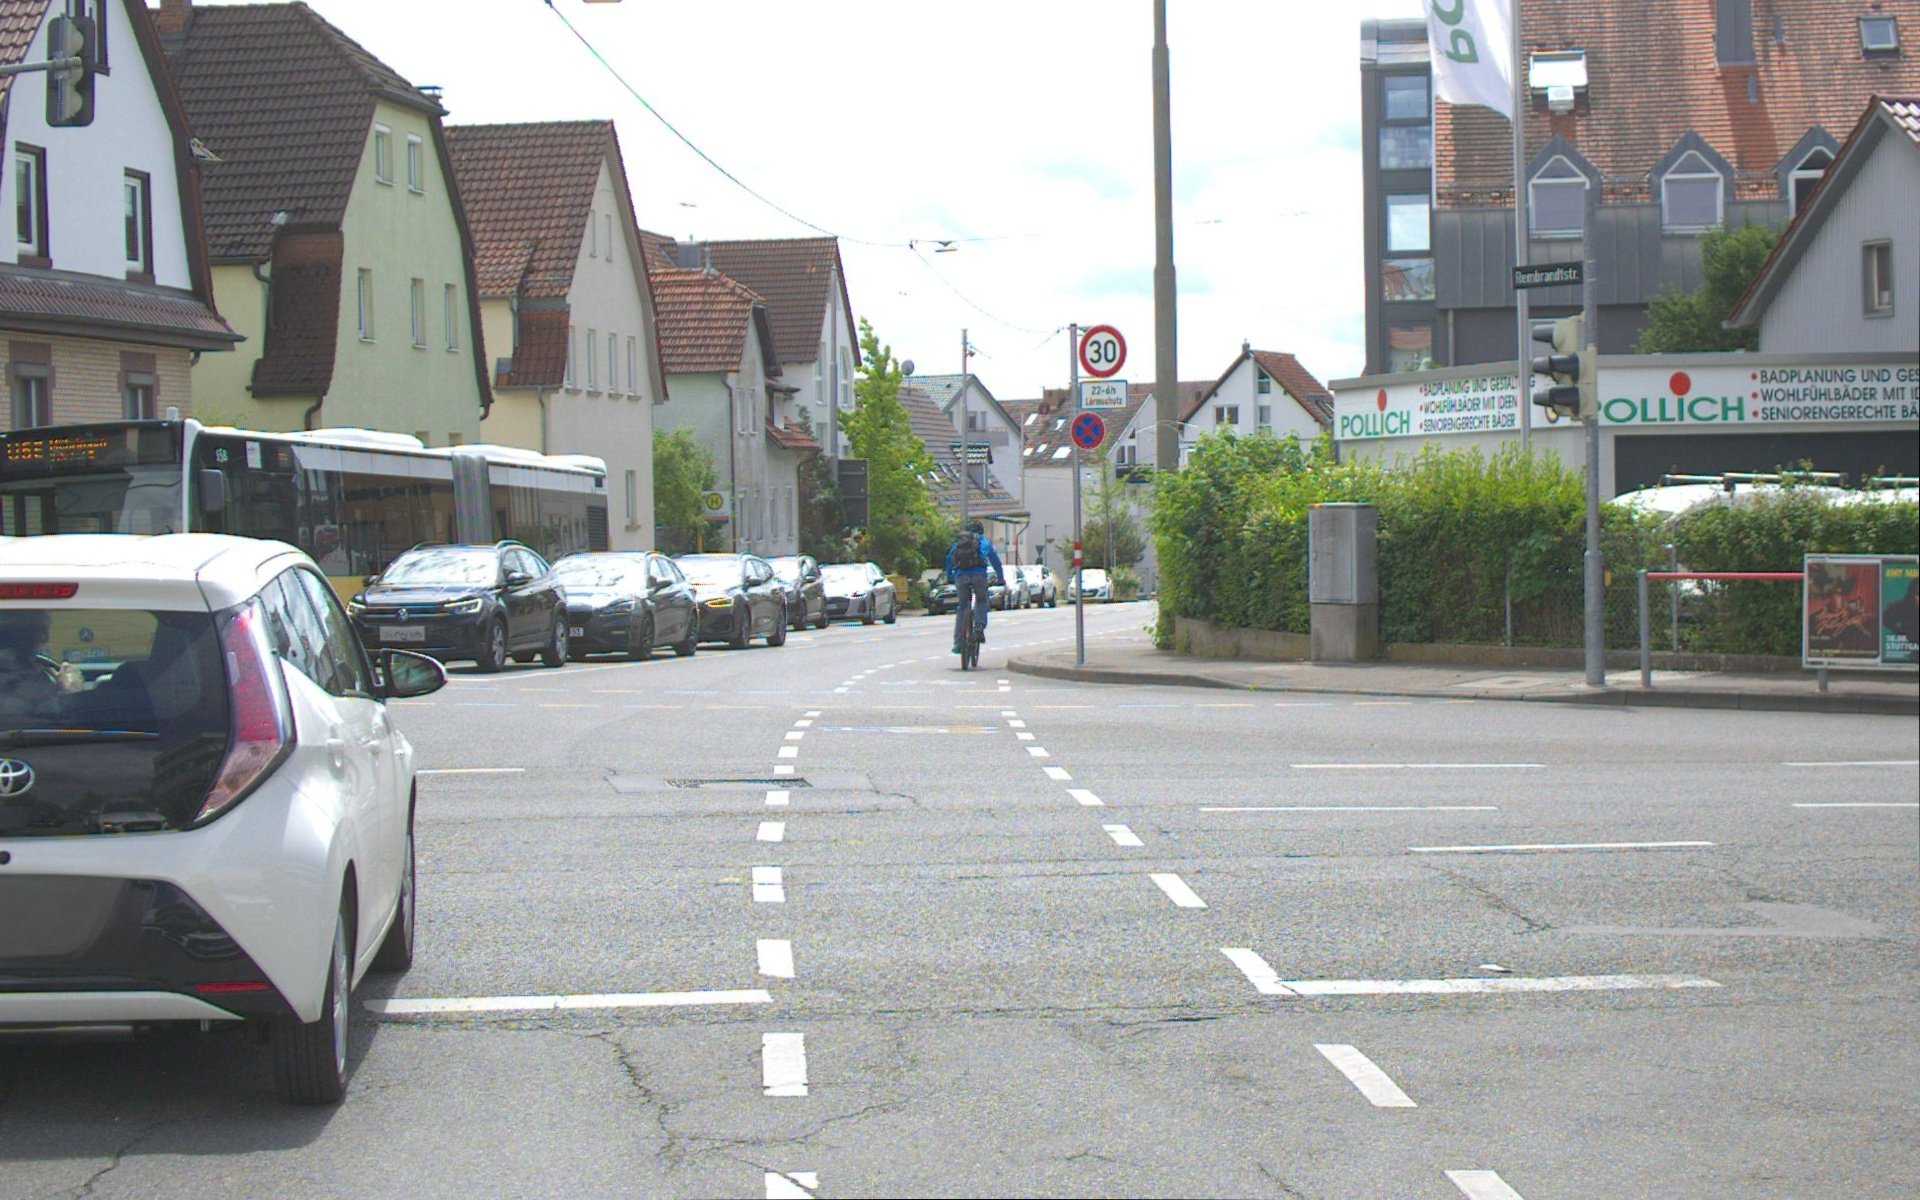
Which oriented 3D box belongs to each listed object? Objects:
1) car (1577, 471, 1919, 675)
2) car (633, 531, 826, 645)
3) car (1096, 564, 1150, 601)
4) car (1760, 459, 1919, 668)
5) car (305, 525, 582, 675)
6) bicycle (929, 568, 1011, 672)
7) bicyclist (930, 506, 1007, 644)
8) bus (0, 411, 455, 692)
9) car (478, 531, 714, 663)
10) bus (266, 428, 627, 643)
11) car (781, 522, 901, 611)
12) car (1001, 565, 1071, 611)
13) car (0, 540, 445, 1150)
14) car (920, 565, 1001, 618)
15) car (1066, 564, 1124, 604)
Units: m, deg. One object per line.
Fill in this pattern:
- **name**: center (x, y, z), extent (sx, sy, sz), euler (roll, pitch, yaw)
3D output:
- **car**: center (8.611, -0.297, 35.373), extent (3.986, 2.007, 2.001), euler (0, 1, -15)
- **car**: center (-3.429, -0.212, 51.895), extent (1.994, 1.634, 3.999), euler (0, 1, 10)
- **car**: center (7.559, -0.811, 159.433), extent (1.994, 1.634, 3.999), euler (0, 1, 10)
- **car**: center (10.036, -0.362, 33.300), extent (3.986, 1.941, 2.001), euler (0, 1, -16)
- **car**: center (-5.902, -0.047, 39.798), extent (1.994, 1.634, 3.999), euler (0, 1, 10)
- **bicycle**: center (0.103, 0.223, 40.596), extent (0.832, 1.160, 2.192), euler (0, 1, -3)
- **bicyclist**: center (0.099, -0.300, 40.669), extent (0.840, 1.609, 1.083), euler (0, 1, -3)
- **bus**: center (-8.857, -0.644, 42.079), extent (2.779, 3.049, 9.188), euler (0, 1, 8)
- **car**: center (-4.710, -0.083, 45.056), extent (1.994, 1.634, 4.182), euler (0, 1, 10)
- **bus**: center (-7.410, -0.981, 51.163), extent (2.779, 2.904, 9.188), euler (0, 1, 8)
- **car**: center (-2.748, -0.813, 80.296), extent (1.994, 2.007, 3.998), euler (0, 1, 10)
- **car**: center (2.841, -0.462, 127.223), extent (1.994, 1.634, 3.999), euler (0, 1, 10)
- **car**: center (-2.487, 0.563, 10.041), extent (1.738, 1.455, 3.533), euler (0, 1, -5)
- **car**: center (0.039, -0.299, 112.429), extent (1.994, 1.634, 3.999), euler (0, 1, 10)
- **car**: center (5.902, -0.715, 150.352), extent (1.994, 1.634, 3.999), euler (0, 1, 10)
